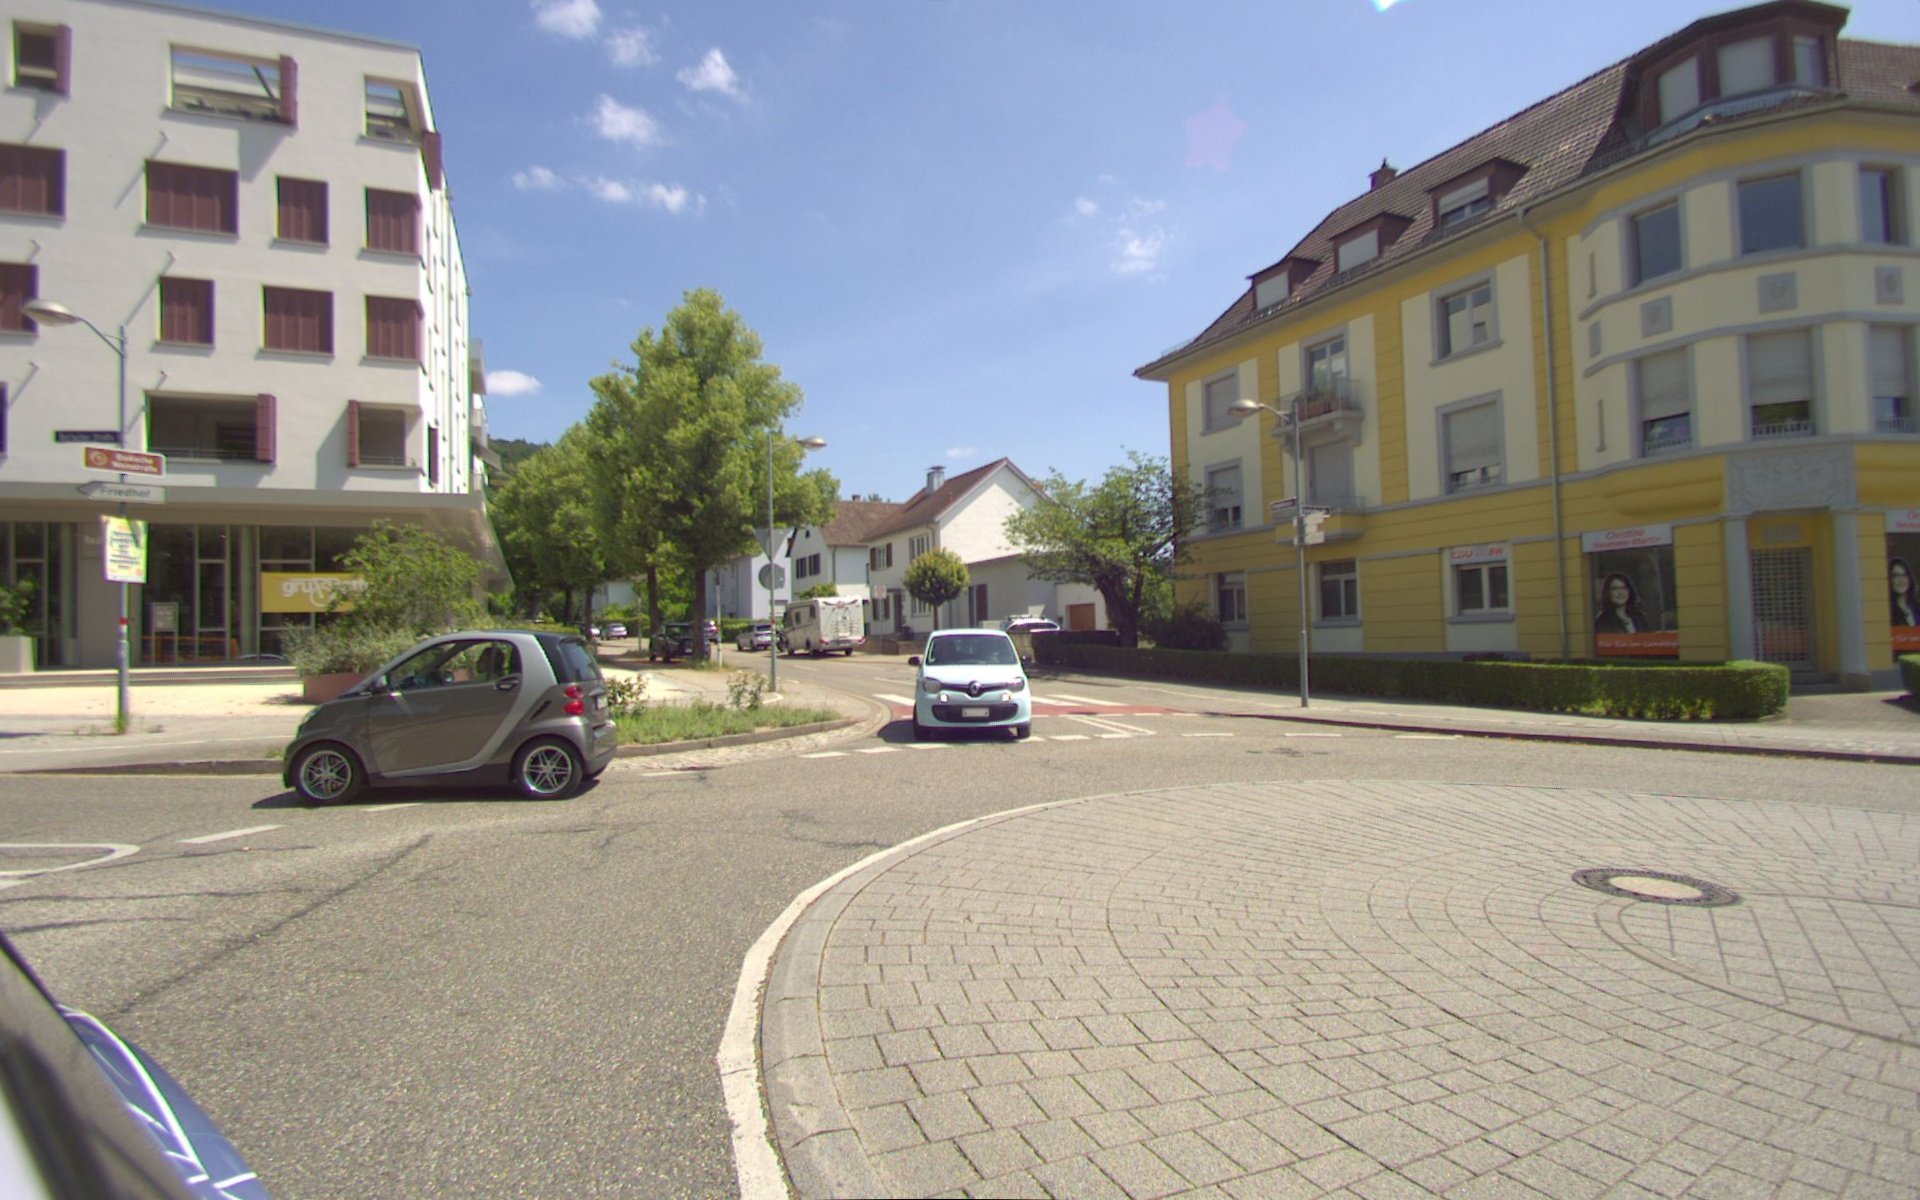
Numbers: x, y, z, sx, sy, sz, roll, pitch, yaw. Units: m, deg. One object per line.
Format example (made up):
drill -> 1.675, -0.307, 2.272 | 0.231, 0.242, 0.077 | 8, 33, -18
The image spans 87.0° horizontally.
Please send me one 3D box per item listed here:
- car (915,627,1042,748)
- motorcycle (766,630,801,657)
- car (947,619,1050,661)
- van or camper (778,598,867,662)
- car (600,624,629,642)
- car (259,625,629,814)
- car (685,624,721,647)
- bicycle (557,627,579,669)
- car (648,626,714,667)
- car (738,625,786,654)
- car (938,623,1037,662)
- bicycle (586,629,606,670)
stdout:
car -> 0.153, 1.233, 15.332 | 1.636, 1.537, 4.164 | -1, -3, -2
motorcycle -> -8.977, 2.195, 51.607 | 0.734, 1.330, 2.218 | -1, -2, 21
car -> 1.571, 1.562, 40.322 | 3.929, 1.598, 1.759 | 1, -2, -39
van or camper -> -6.427, 1.385, 46.743 | 2.235, 2.658, 5.904 | -2, -1, -26
car -> -32.502, 3.085, 95.134 | 1.965, 1.679, 4.013 | 1, -1, -27
car -> -4.682, 1.030, 9.517 | 2.745, 1.542, 1.573 | -1, -1, -8
car -> -17.614, 2.430, 69.237 | 1.726, 1.516, 4.005 | 1, -2, -25
bicycle -> -13.334, 1.632, 34.484 | 0.560, 1.388, 1.753 | 1, -2, -17
car -> -10.955, 1.781, 39.560 | 1.726, 1.516, 4.005 | 1, -2, -27
car -> -10.890, 2.166, 55.479 | 1.726, 1.516, 4.005 | 1, -2, -25
car -> 1.206, 1.818, 43.652 | 3.924, 1.598, 1.762 | 1, -2, -29
bicycle -> -12.476, 1.686, 34.737 | 0.560, 1.388, 1.753 | 1, -2, -17
